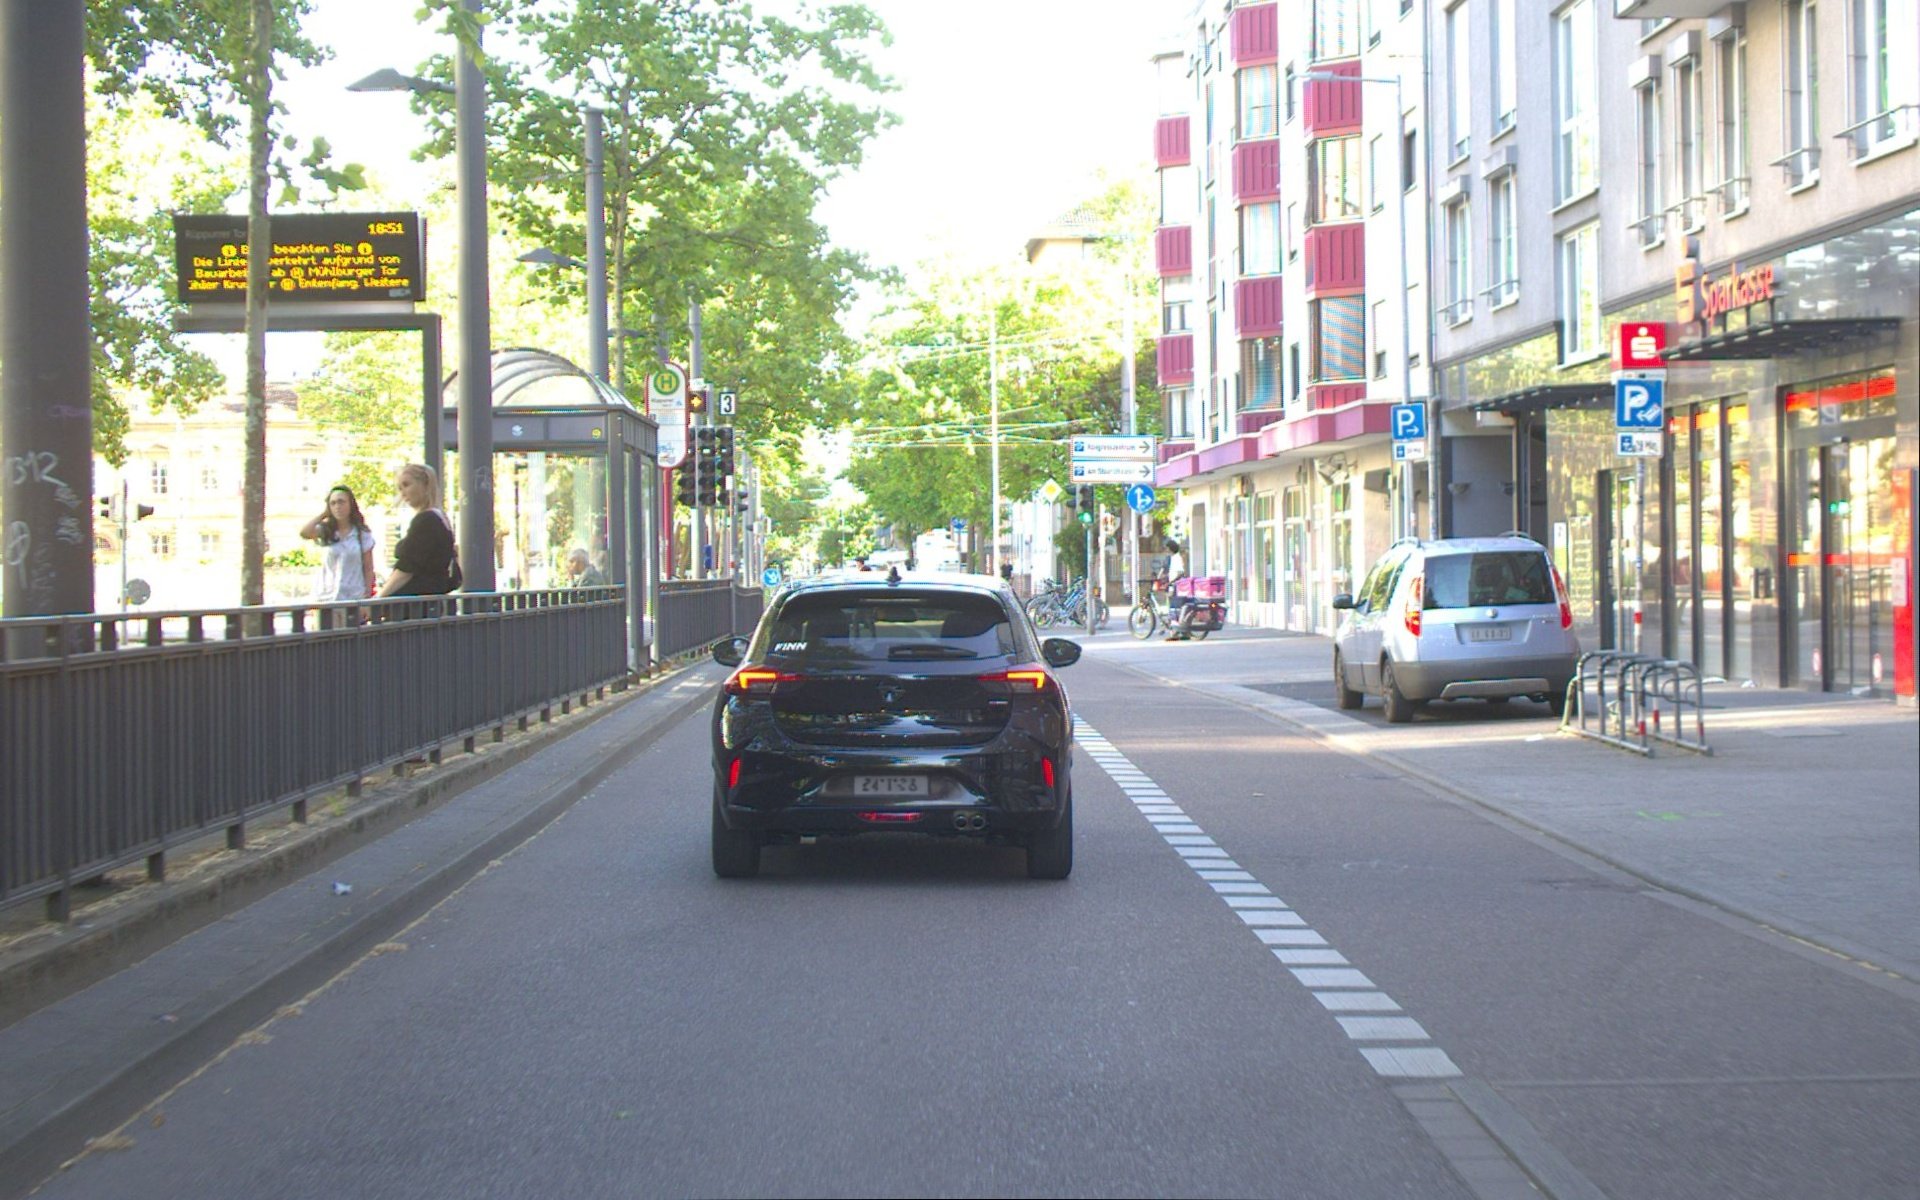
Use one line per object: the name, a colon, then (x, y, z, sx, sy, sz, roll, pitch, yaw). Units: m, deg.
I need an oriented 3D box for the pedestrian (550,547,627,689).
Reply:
pedestrian: (-3.476, 0.161, 32.185, 0.626, 1.315, 0.801, 0, 1, -1)

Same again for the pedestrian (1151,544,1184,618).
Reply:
pedestrian: (5.230, -0.490, 86.658, 0.722, 1.851, 0.801, -1, 0, -2)

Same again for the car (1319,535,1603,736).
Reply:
car: (4.522, 0.283, 31.640, 1.832, 1.617, 4.285, -3, 1, -1)

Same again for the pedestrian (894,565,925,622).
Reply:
pedestrian: (-1.804, -0.248, 122.740, 1.036, 2.017, 1.212, 0, 0, -3)

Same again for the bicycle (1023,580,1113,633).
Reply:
bicycle: (2.415, 0.145, 76.730, 1.939, 1.166, 0.572, -1, 0, -4)

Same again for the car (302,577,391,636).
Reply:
car: (-21.331, 0.203, 119.686, 1.994, 1.941, 4.423, 0, 1, 5)

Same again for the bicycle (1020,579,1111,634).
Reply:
bicycle: (2.370, 0.144, 77.385, 1.976, 1.195, 0.591, -1, 0, -6)

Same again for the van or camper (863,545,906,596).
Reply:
van or camper: (-4.563, -1.745, 207.540, 2.486, 2.983, 5.434, 1, 0, -1)

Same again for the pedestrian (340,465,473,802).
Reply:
pedestrian: (-3.145, 0.185, 19.576, 0.646, 1.880, 0.661, -1, 1, -1)

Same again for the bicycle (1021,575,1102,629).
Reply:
bicycle: (2.308, 0.042, 78.235, 1.831, 1.216, 0.496, -1, 0, 2)

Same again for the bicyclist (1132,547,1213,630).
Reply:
bicyclist: (4.014, -0.218, 65.062, 1.057, 1.535, 1.078, -1, 1, -40)

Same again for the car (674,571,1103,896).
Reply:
car: (-0.352, 0.577, 17.459, 1.905, 1.420, 4.215, 0, 1, -1)

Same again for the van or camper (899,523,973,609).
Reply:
van or camper: (-0.986, -1.314, 133.853, 2.375, 3.114, 7.551, -3, 1, -3)

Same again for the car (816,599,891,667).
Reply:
car: (-2.743, 0.837, 89.112, 1.832, 1.617, 4.285, -2, 1, -1)

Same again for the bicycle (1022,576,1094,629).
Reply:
bicycle: (2.244, 0.055, 78.805, 1.623, 1.195, 0.496, -1, 0, 3)

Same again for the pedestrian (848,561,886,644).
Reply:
pedestrian: (-1.958, 0.050, 72.209, 0.734, 1.741, 0.712, 0, 1, 3)

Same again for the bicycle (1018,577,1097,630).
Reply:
bicycle: (2.254, 0.076, 79.549, 1.802, 1.195, 0.545, -1, -1, 3)

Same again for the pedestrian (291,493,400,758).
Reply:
pedestrian: (-4.389, 0.178, 24.586, 0.645, 1.865, 0.753, 0, 0, -1)

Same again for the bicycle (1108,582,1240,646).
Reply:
bicycle: (4.043, 0.253, 65.039, 0.960, 1.179, 2.597, -1, 1, -40)
